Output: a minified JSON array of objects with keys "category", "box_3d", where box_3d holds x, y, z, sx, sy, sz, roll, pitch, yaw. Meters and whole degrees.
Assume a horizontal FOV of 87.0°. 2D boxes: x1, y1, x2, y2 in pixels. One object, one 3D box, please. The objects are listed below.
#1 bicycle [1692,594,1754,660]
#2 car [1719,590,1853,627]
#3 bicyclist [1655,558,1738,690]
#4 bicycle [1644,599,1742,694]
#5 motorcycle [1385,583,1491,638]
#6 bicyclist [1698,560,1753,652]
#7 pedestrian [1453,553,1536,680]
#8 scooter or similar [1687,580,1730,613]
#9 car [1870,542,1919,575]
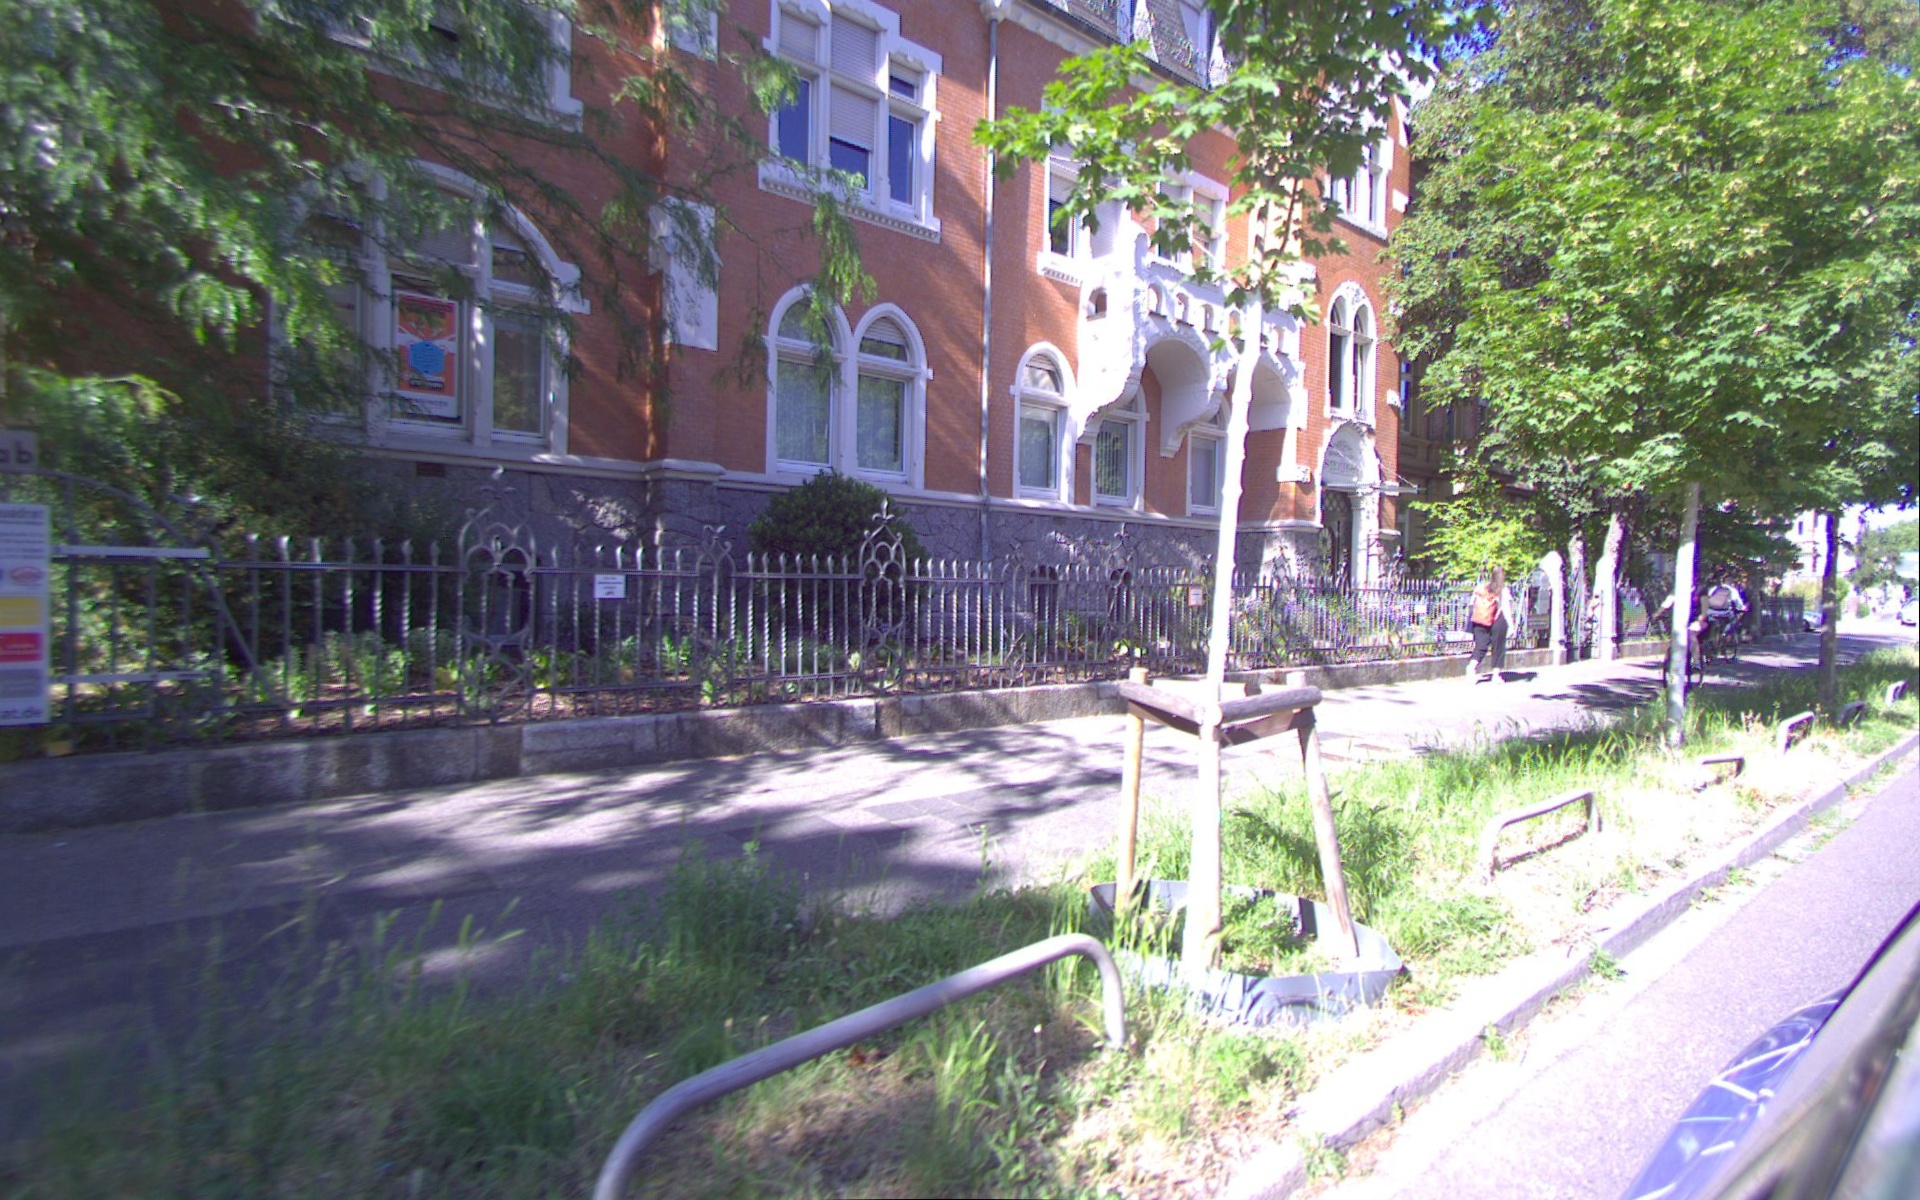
[{"category":"bicycle","box_3d":[14.830,0.497,19.652,1.888,1.190,0.616,0,4,-45]},{"category":"car","box_3d":[37.519,0.354,46.061,2.010,1.434,4.418,0,2,-39]},{"category":"bicyclist","box_3d":[10.146,0.310,13.939,0.874,1.715,0.647,1,4,-42]},{"category":"bicycle","box_3d":[10.122,0.604,13.951,1.811,1.190,0.654,0,4,-42]},{"category":"motorcycle","box_3d":[10.113,0.196,21.475,0.766,1.044,1.884,-1,4,-32]},{"category":"bicyclist","box_3d":[14.829,0.106,19.611,0.807,1.710,0.621,0,4,-44]},{"category":"pedestrian","box_3d":[7.430,0.209,14.067,0.806,1.678,0.696,-1,4,-41]},{"category":"scooter or similar","box_3d":[30.104,-0.131,40.695,1.380,1.278,0.762,0,3,-25]},{"category":"car","box_3d":[47.531,-2.086,51.275,4.039,1.458,1.844,0,4,-45]}]
